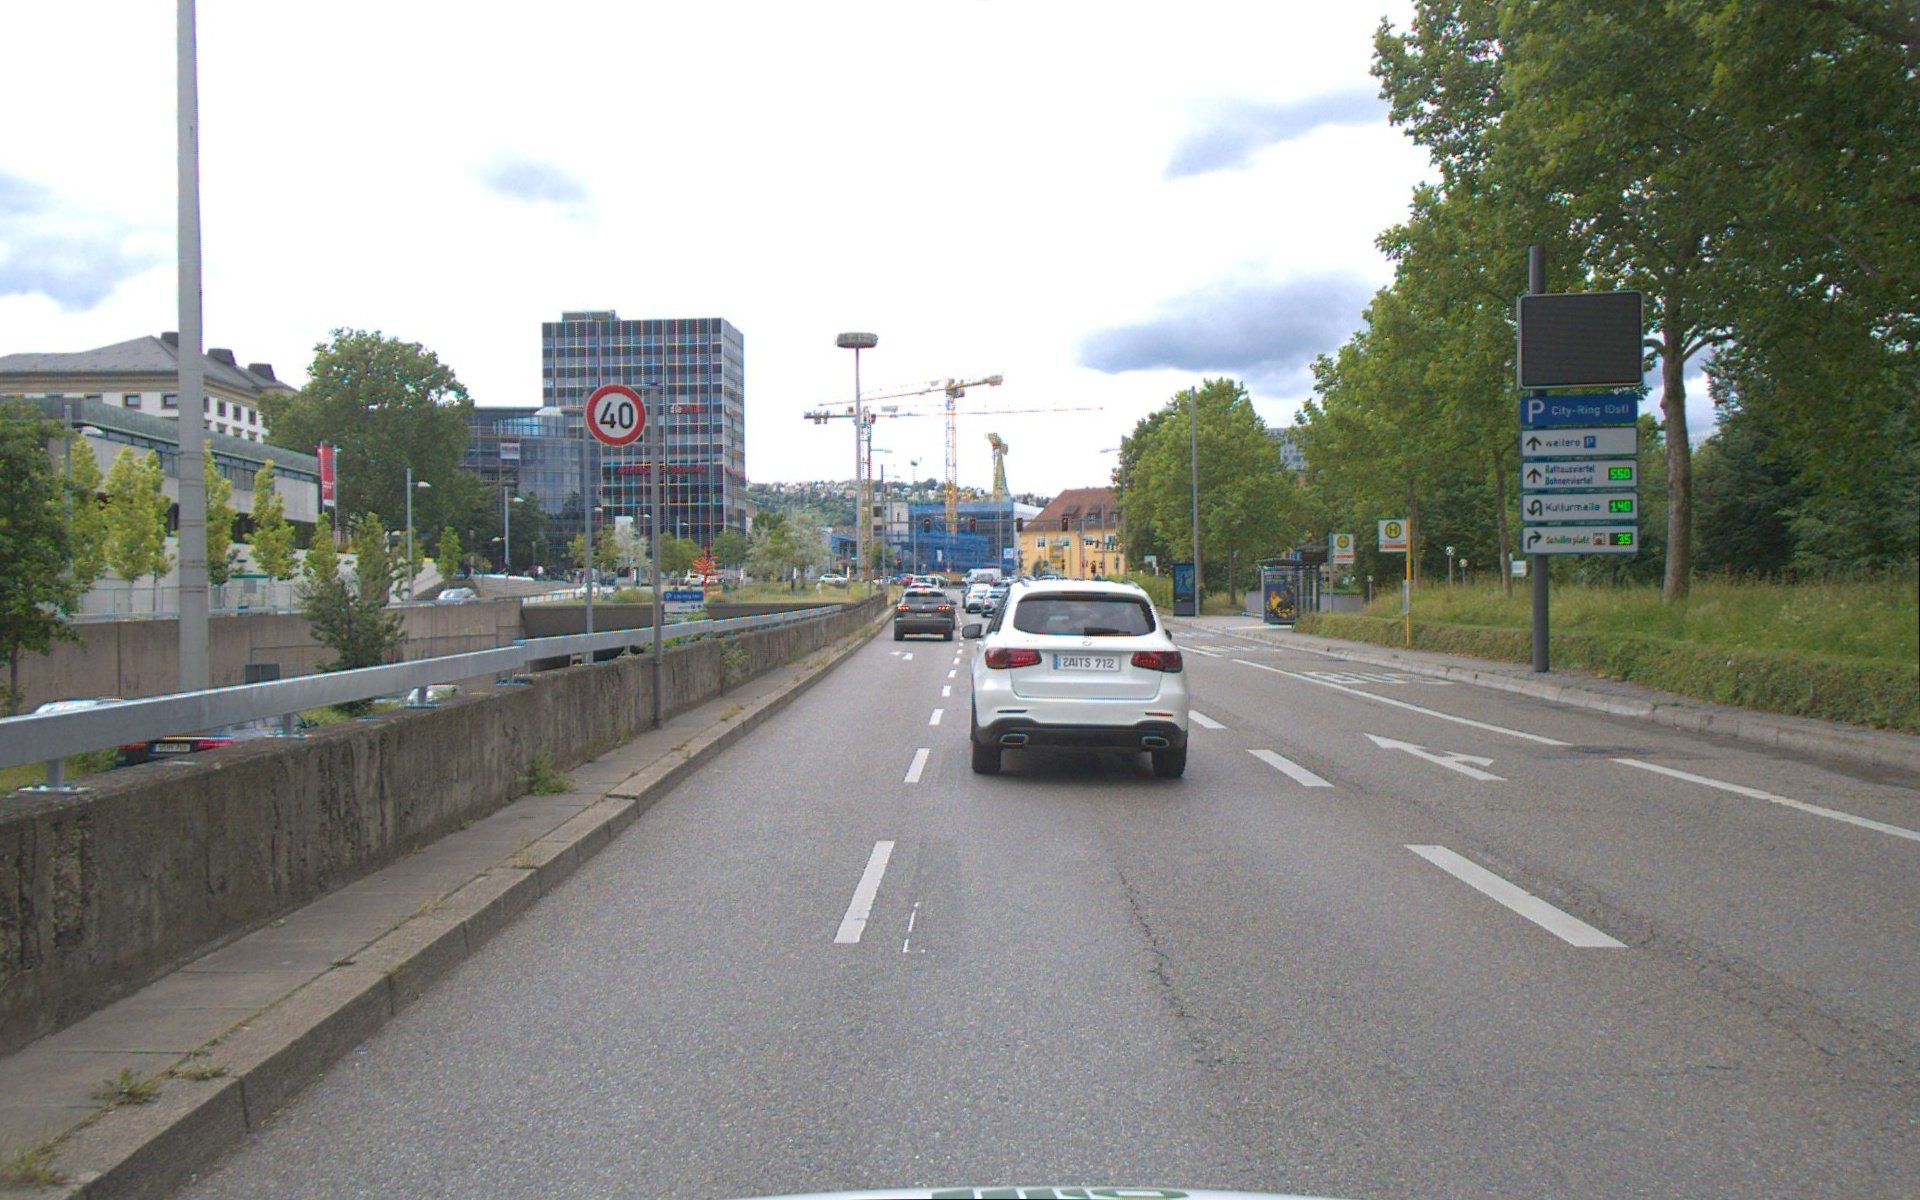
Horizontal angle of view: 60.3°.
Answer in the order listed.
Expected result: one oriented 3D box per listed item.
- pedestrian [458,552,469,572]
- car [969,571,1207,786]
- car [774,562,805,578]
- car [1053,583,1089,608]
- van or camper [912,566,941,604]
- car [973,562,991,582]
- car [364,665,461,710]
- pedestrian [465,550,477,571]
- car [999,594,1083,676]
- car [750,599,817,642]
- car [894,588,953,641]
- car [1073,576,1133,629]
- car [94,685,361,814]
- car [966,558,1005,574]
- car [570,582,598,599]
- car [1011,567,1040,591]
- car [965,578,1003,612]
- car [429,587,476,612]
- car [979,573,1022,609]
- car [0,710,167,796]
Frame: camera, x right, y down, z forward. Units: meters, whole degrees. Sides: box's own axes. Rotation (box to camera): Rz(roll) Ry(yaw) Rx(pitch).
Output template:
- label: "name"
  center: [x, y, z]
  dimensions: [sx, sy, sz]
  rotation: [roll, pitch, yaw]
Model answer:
- label: "pedestrian"
  center: [-46.005, -3.534, 153.138]
  dimensions: [0.679, 1.759, 0.641]
  rotation: [1, -1, 23]
- label: "car"
  center: [1.053, 0.643, 15.273]
  dimensions: [1.900, 1.713, 4.000]
  rotation: [0, 0, 1]
- label: "car"
  center: [-23.680, -4.101, 229.690]
  dimensions: [3.925, 2.049, 1.990]
  rotation: [2, -1, -18]
- label: "car"
  center: [7.797, -0.291, 116.482]
  dimensions: [1.955, 1.646, 3.995]
  rotation: [2, 0, -5]
- label: "van or camper"
  center: [-2.186, -0.960, 108.835]
  dimensions: [1.883, 2.360, 3.999]
  rotation: [1, -1, -1]
- label: "car"
  center: [2.372, -3.115, 181.696]
  dimensions: [1.763, 2.049, 3.999]
  rotation: [2, 0, -1]
- label: "car"
  center: [-17.807, 2.818, 53.978]
  dimensions: [1.955, 1.162, 4.843]
  rotation: [2, 0, -6]
- label: "pedestrian"
  center: [-42.628, -3.441, 144.104]
  dimensions: [0.679, 1.759, 0.641]
  rotation: [1, -1, 24]
- label: "car"
  center: [1.742, 0.735, 36.812]
  dimensions: [1.638, 1.656, 4.000]
  rotation: [2, 0, 0]
- label: "car"
  center: [-5.821, 0.648, 54.842]
  dimensions: [1.683, 1.315, 4.001]
  rotation: [2, 0, 1]
- label: "car"
  center: [-1.208, 0.447, 54.734]
  dimensions: [1.883, 1.630, 3.999]
  rotation: [1, 1, -1]
- label: "car"
  center: [5.537, 0.106, 64.518]
  dimensions: [1.937, 1.926, 4.707]
  rotation: [2, 0, 1]
- label: "car"
  center: [-10.769, 2.139, 24.763]
  dimensions: [1.775, 1.486, 4.863]
  rotation: [1, 0, 0]
- label: "car"
  center: [3.525, -4.695, 229.630]
  dimensions: [5.174, 2.096, 1.869]
  rotation: [2, -1, 31]
- label: "car"
  center: [-34.257, -0.872, 150.813]
  dimensions: [1.773, 1.452, 3.706]
  rotation: [2, 0, -2]
- label: "car"
  center: [4.614, -1.483, 116.577]
  dimensions: [1.684, 1.612, 3.998]
  rotation: [2, 0, -2]
- label: "car"
  center: [1.303, -0.270, 92.609]
  dimensions: [1.953, 1.812, 3.999]
  rotation: [2, 0, -1]
- label: "car"
  center: [-29.334, -0.019, 95.682]
  dimensions: [1.797, 1.384, 3.863]
  rotation: [2, 0, -6]
- label: "car"
  center: [1.998, -0.444, 83.464]
  dimensions: [1.953, 1.691, 3.999]
  rotation: [2, 0, -1]
- label: "car"
  center: [-20.470, 3.528, 38.724]
  dimensions: [1.842, 1.565, 4.575]
  rotation: [2, 0, -5]
